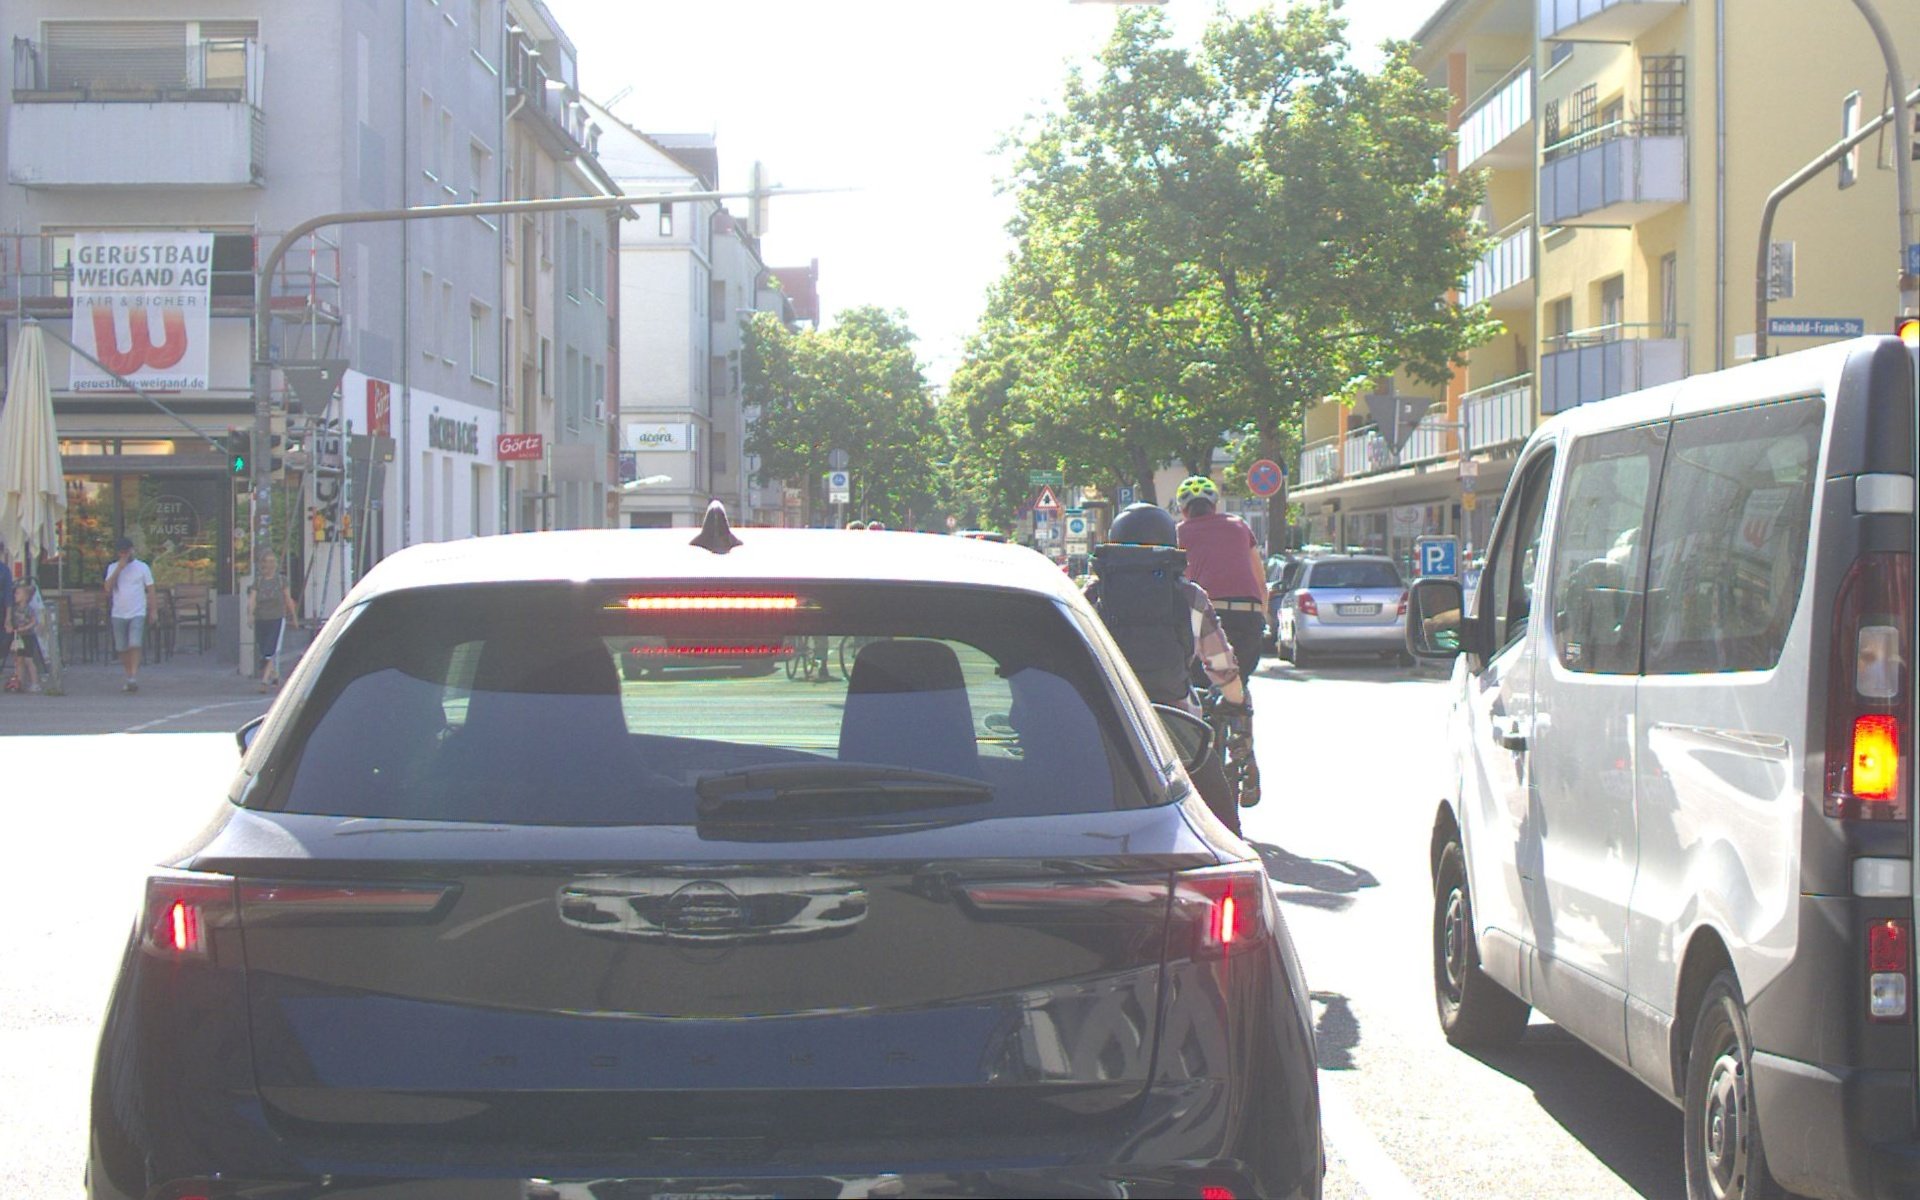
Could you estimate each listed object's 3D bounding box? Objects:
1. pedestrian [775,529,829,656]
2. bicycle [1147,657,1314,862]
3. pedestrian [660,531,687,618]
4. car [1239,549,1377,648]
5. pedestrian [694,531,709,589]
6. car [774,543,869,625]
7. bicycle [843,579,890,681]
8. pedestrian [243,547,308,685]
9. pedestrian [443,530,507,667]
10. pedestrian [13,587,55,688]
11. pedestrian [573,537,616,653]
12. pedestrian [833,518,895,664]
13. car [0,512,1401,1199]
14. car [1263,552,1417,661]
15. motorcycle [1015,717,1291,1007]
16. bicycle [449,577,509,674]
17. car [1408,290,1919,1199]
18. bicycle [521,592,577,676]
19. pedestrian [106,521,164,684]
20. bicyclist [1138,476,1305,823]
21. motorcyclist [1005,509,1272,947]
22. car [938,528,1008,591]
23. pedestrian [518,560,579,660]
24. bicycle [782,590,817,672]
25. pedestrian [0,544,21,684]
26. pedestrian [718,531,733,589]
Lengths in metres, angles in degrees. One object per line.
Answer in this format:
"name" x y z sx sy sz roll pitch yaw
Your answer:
"pedestrian" -2.024 -0.099 43.951 0.680 1.600 0.762 0 1 -2
"bicycle" 1.353 0.780 17.538 0.577 0.901 2.301 0 1 -2
"pedestrian" -5.568 -0.497 66.819 0.488 1.684 0.588 0 1 -1
"car" 5.219 -0.048 51.936 1.634 1.428 4.000 0 1 -1
"pedestrian" -7.475 -1.163 99.569 0.402 1.669 0.418 0 1 -1
"car" -2.951 -0.369 73.885 1.825 1.722 4.000 0 1 1
"bicycle" -1.104 0.332 40.227 0.521 1.143 2.170 0 1 -2
"pedestrian" -7.624 0.169 38.302 0.617 1.516 0.725 0 1 -3
"pedestrian" -5.968 -0.021 42.316 0.707 1.672 0.802 0 1 -2
"pedestrian" -10.097 0.406 37.477 0.355 1.088 0.462 0 1 -3
"pedestrian" -5.353 -0.076 50.361 0.570 1.684 0.588 0 1 -1
"pedestrian" -1.128 -0.114 40.275 0.707 1.695 0.802 0 1 -2
"car" -0.413 0.620 6.325 1.770 1.525 4.001 0 1 -2
"car" 5.184 0.057 47.256 1.634 1.428 3.957 0 1 -1
"motorcycle" 0.639 0.878 12.050 0.825 0.842 1.885 0 1 -1
"bicycle" -5.931 0.294 42.469 0.521 1.143 2.284 0 1 -2
"car" 2.459 0.424 8.456 1.993 1.972 4.895 1 1 0
"bicycle" -5.187 0.416 43.449 0.521 0.989 2.339 0 1 -2
"pedestrian" -9.018 0.023 37.582 0.561 1.769 0.584 0 1 -9
"bicyclist" 1.324 0.232 17.615 0.689 1.707 1.414 0 1 -2
"motorcyclist" 0.618 0.428 12.330 0.864 1.497 1.160 0 1 -2
"car" 0.358 -1.138 96.283 1.902 1.722 4.073 0 1 0
"pedestrian" -5.193 0.121 43.422 0.707 1.249 0.802 0 1 -2
"bicycle" -2.054 0.385 44.097 0.443 0.989 2.069 0 1 -2
"pedestrian" -10.608 0.148 37.485 0.584 1.516 0.650 0 1 -3
"pedestrian" -6.781 -1.158 99.437 0.402 1.669 0.418 0 1 -1
